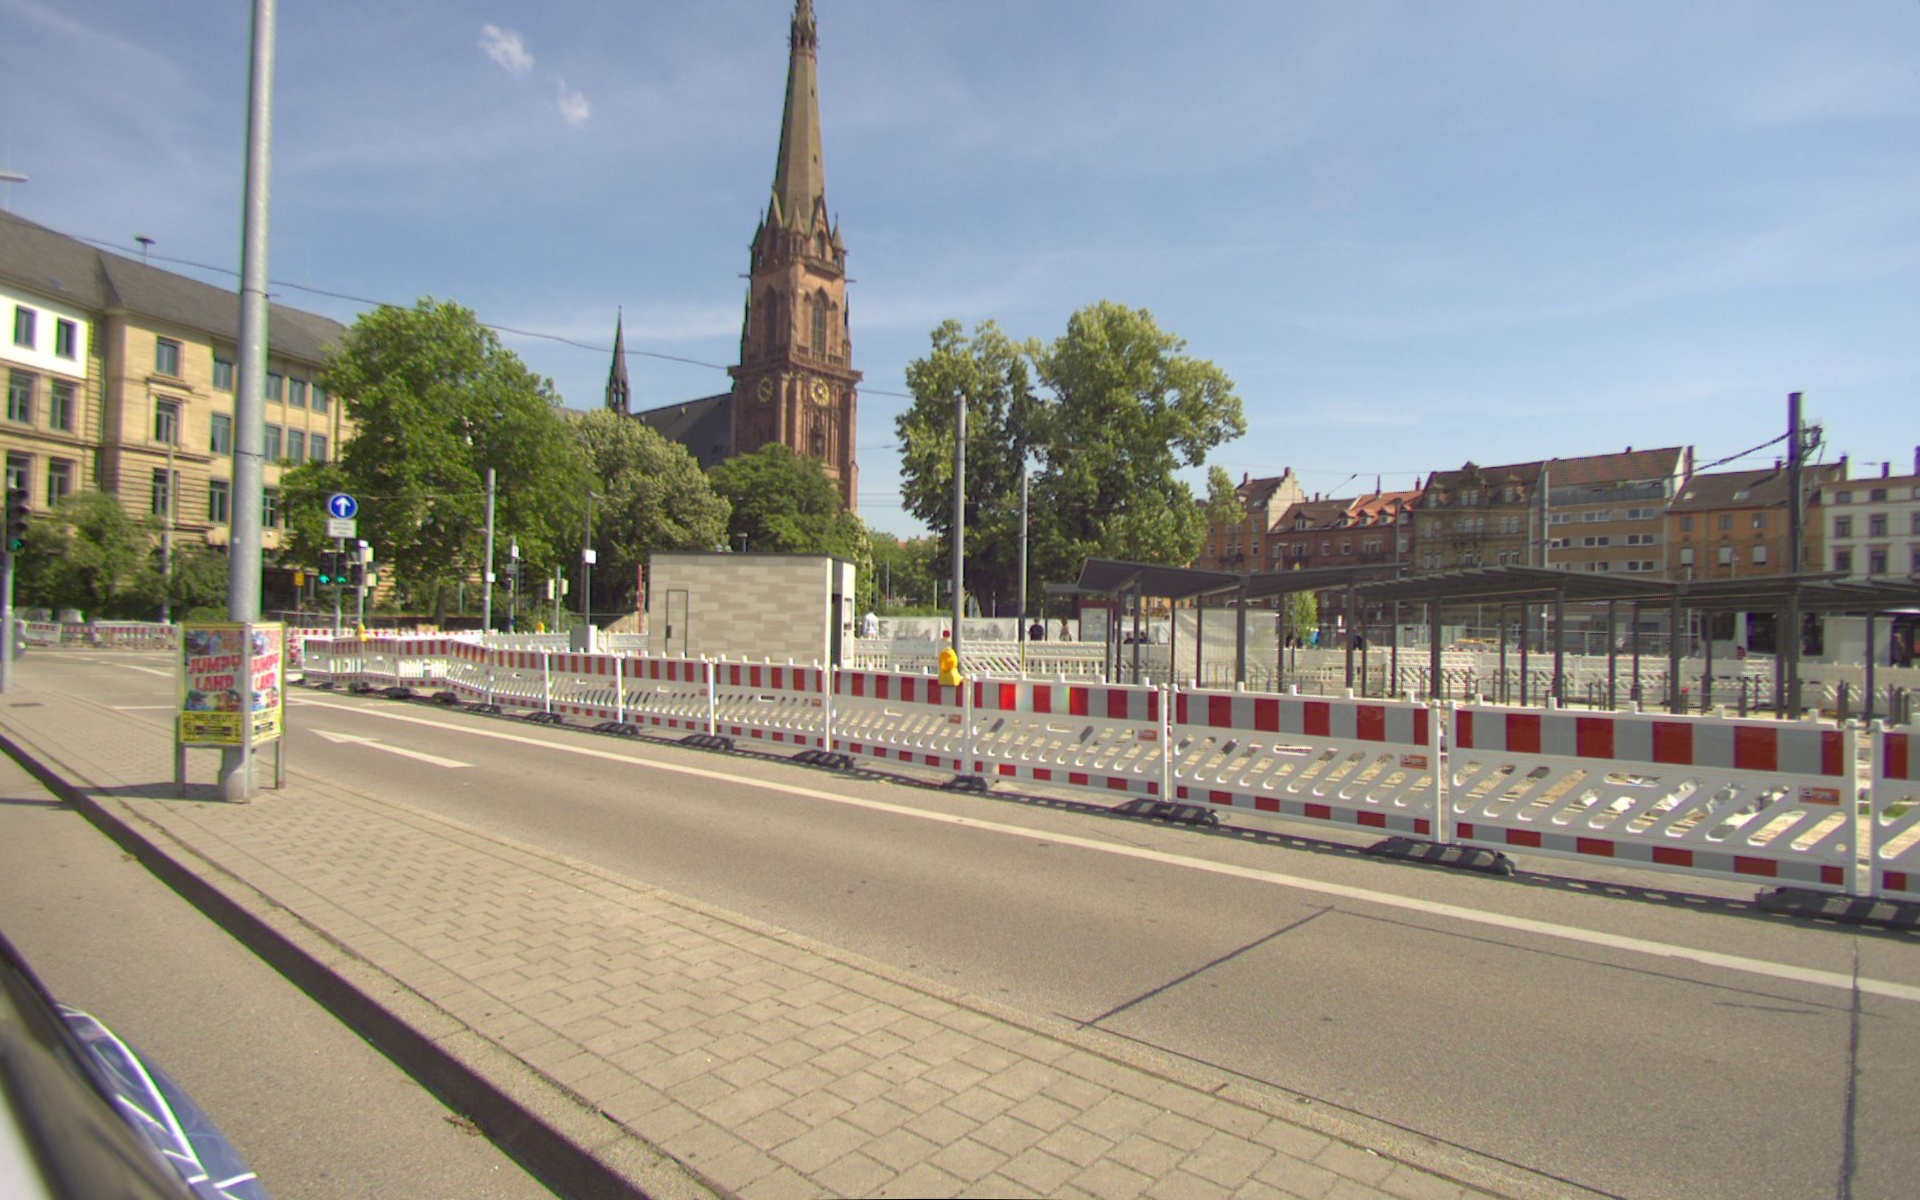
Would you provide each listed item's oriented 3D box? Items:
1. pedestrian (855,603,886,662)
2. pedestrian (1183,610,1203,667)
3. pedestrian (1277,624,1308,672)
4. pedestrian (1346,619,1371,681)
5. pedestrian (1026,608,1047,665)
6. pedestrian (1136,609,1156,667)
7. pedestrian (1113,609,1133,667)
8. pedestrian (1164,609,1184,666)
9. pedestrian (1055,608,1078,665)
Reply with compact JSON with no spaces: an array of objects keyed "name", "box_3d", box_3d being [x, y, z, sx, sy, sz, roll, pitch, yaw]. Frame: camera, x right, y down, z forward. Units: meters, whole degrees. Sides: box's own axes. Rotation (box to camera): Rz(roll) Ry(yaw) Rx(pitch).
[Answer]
[{"name":"pedestrian","box_3d":[-3.106,1.130,35.114,0.686,2.029,0.809,-1,-3,43]},{"name":"pedestrian","box_3d":[8.582,1.416,37.307,0.679,2.029,0.818,1,-2,11]},{"name":"pedestrian","box_3d":[11.848,1.707,36.099,0.733,1.674,0.822,1,-2,-7]},{"name":"pedestrian","box_3d":[13.321,1.666,33.819,0.680,2.029,0.816,1,-2,16]},{"name":"pedestrian","box_3d":[2.788,1.317,36.914,0.678,2.029,0.819,1,-2,7]},{"name":"pedestrian","box_3d":[6.637,1.337,36.092,0.679,2.029,0.818,1,-2,11]},{"name":"pedestrian","box_3d":[5.841,1.356,36.219,0.679,2.029,0.818,1,-2,11]},{"name":"pedestrian","box_3d":[7.771,1.365,36.810,0.679,2.029,0.818,1,-2,11]},{"name":"pedestrian","box_3d":[3.854,1.305,36.709,0.810,2.029,0.685,1,-2,6]}]
